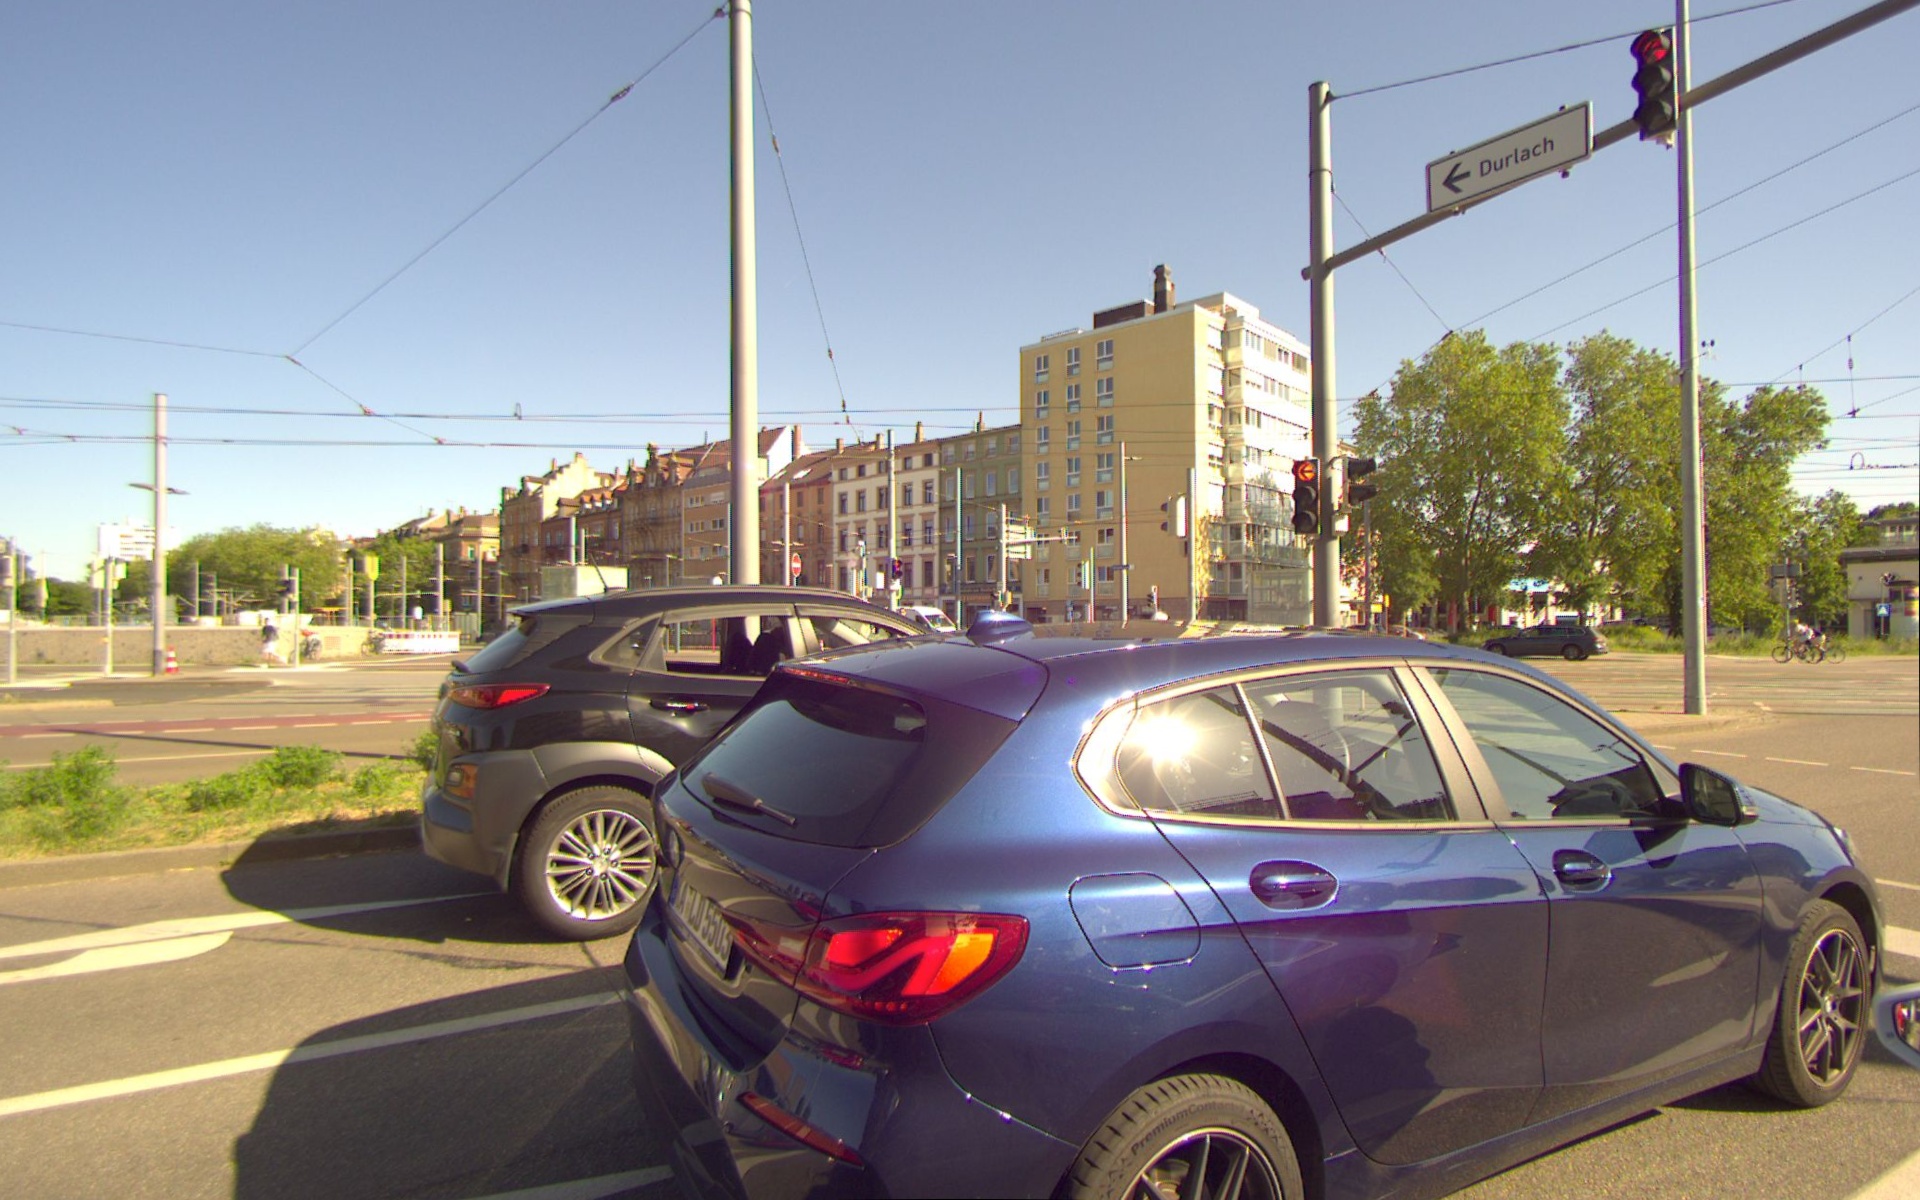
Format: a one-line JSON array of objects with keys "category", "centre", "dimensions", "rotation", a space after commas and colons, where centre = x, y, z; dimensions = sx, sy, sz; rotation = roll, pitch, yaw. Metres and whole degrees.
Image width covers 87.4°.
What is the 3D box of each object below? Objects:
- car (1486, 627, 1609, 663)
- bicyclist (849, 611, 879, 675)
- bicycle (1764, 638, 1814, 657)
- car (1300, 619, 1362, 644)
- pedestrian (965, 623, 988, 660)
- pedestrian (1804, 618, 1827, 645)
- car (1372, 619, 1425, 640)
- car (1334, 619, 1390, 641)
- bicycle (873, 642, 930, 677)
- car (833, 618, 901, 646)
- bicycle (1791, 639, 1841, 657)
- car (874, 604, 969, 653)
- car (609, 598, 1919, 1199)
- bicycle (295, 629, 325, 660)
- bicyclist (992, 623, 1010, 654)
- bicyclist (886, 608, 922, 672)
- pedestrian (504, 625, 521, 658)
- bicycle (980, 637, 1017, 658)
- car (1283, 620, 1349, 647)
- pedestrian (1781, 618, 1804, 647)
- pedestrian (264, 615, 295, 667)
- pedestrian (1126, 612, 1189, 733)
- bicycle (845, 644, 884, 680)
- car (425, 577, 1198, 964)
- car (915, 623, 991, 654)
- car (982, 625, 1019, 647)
[{"category": "car", "centre": [24.466, 1.825, 41.918], "dimensions": [4.163, 1.419, 1.849], "rotation": [-1, -2, 41]}, {"category": "bicyclist", "centre": [-2.567, 1.143, 26.828], "dimensions": [0.668, 1.676, 0.782], "rotation": [0, -1, -18]}, {"category": "bicycle", "centre": [35.236, 2.014, 42.714], "dimensions": [1.609, 0.769, 0.422], "rotation": [-1, -2, 38]}, {"category": "car", "centre": [25.653, 2.191, 69.551], "dimensions": [3.691, 1.684, 1.586], "rotation": [-1, -2, 42]}, {"category": "pedestrian", "centre": [0.714, 1.791, 43.398], "dimensions": [0.669, 1.593, 0.741], "rotation": [1, -2, -44]}, {"category": "pedestrian", "centre": [36.745, 1.359, 43.160], "dimensions": [0.739, 1.142, 0.422], "rotation": [-1, -1, 41]}, {"category": "car", "centre": [36.151, 2.450, 82.867], "dimensions": [3.691, 1.684, 1.586], "rotation": [-1, -2, 42]}, {"category": "car", "centre": [31.150, 2.330, 77.849], "dimensions": [3.691, 1.684, 1.586], "rotation": [-1, -2, 42]}, {"category": "bicycle", "centre": [-1.600, 1.591, 27.304], "dimensions": [0.672, 0.890, 1.880], "rotation": [1, -2, -35]}, {"category": "car", "centre": [-5.836, 2.008, 62.706], "dimensions": [4.244, 1.675, 1.849], "rotation": [-1, -2, 41]}, {"category": "bicycle", "centre": [36.760, 2.056, 43.134], "dimensions": [1.610, 0.727, 0.422], "rotation": [-1, -2, 41]}, {"category": "car", "centre": [-2.164, 1.551, 54.830], "dimensions": [5.341, 2.541, 1.989], "rotation": [-1, -2, 42]}, {"category": "car", "centre": [1.131, 0.769, 3.127], "dimensions": [3.982, 1.464, 1.703], "rotation": [1, 0, -29]}, {"category": "bicycle", "centre": [-25.859, 1.766, 39.975], "dimensions": [0.461, 1.189, 1.252], "rotation": [0, -1, -6]}, {"category": "bicyclist", "centre": [1.895, 1.798, 46.935], "dimensions": [0.609, 1.462, 0.614], "rotation": [1, -1, -30]}, {"category": "bicyclist", "centre": [-1.518, 1.076, 27.194], "dimensions": [0.672, 1.676, 0.777], "rotation": [1, -1, -35]}, {"category": "pedestrian", "centre": [-24.014, 2.235, 53.857], "dimensions": [0.672, 1.735, 0.793], "rotation": [1, -1, -38]}, {"category": "bicycle", "centre": [1.808, 2.205, 46.869], "dimensions": [1.666, 0.958, 0.614], "rotation": [1, -1, -30]}, {"category": "car", "centre": [22.816, 2.117, 64.367], "dimensions": [3.691, 1.684, 1.586], "rotation": [-1, -2, 42]}, {"category": "pedestrian", "centre": [35.339, 1.366, 42.645], "dimensions": [0.738, 1.220, 0.422], "rotation": [-1, -1, 38]}, {"category": "pedestrian", "centre": [-24.759, 1.483, 36.548], "dimensions": [0.872, 1.879, 0.683], "rotation": [1, -1, -30]}, {"category": "pedestrian", "centre": [2.608, 0.950, 13.277], "dimensions": [0.746, 1.575, 0.357], "rotation": [0, -1, -2]}, {"category": "bicycle", "centre": [-2.555, 1.645, 26.783], "dimensions": [0.667, 0.890, 1.891], "rotation": [0, -1, -17]}, {"category": "car", "centre": [-0.763, 0.710, 5.700], "dimensions": [3.959, 1.537, 1.751], "rotation": [1, -1, -28]}, {"category": "car", "centre": [-0.436, 2.156, 56.996], "dimensions": [4.246, 1.675, 1.848], "rotation": [-1, -2, 42]}, {"category": "car", "centre": [2.704, 2.415, 67.646], "dimensions": [1.745, 1.446, 3.873], "rotation": [0, -1, -10]}]
